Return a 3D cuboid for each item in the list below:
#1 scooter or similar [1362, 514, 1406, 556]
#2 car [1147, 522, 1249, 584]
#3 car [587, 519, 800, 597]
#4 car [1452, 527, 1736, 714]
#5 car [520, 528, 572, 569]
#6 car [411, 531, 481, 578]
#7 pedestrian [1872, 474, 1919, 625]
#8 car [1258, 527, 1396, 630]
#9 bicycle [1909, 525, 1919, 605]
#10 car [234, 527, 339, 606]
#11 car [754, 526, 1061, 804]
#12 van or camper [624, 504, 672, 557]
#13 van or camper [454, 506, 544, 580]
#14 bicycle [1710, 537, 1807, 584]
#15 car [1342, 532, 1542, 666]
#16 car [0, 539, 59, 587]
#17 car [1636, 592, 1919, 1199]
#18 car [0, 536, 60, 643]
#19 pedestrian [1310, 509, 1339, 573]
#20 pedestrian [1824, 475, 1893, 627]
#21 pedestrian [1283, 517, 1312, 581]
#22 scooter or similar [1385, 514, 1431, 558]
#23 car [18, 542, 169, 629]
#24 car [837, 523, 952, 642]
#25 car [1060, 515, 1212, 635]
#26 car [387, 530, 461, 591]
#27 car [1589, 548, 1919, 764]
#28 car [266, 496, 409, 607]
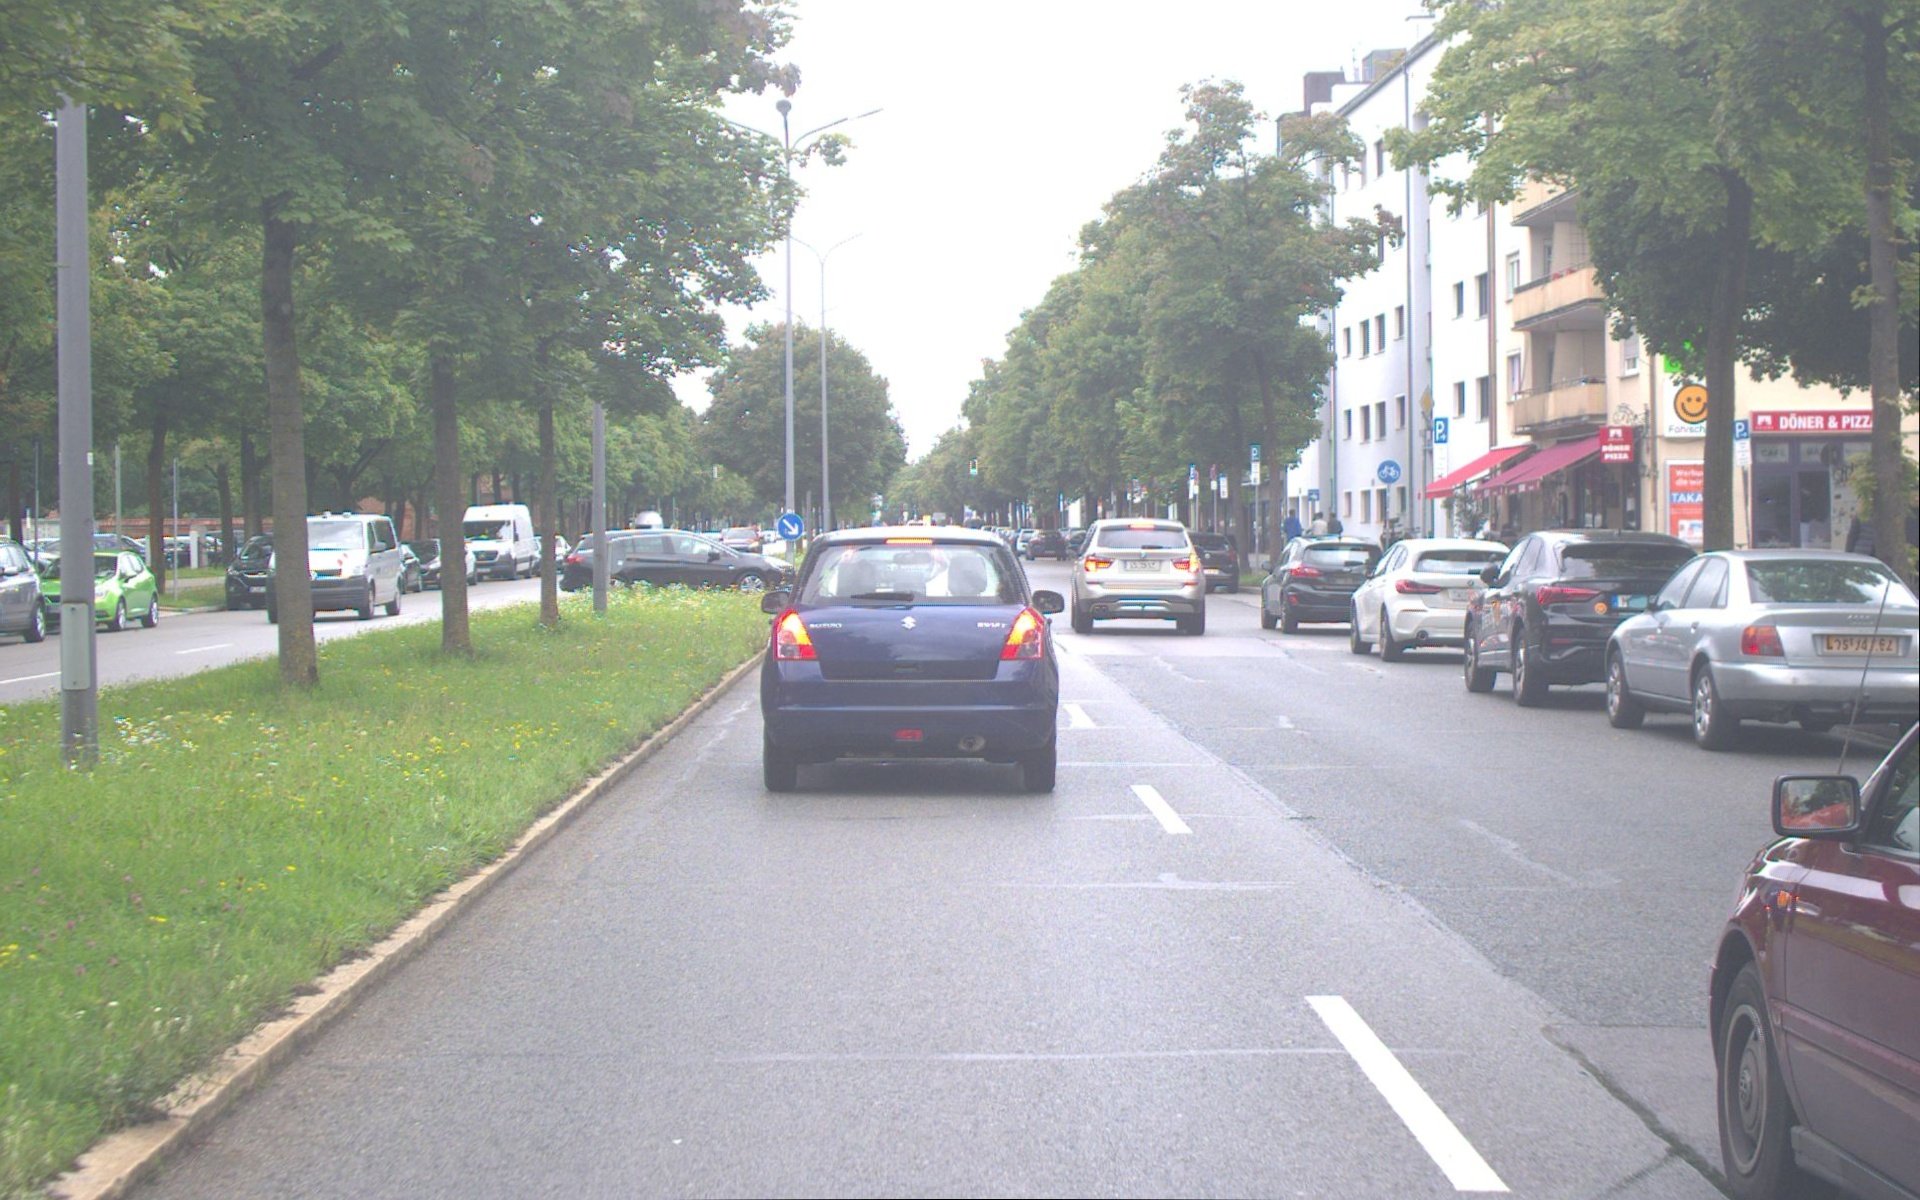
[{"bbox_3d":[13.422,-2.074,108.918,1.033,1.303,2.755,-1,1,0],"label":"scooter or similar"},{"bbox_3d":[5.677,-1.145,82.288,1.865,1.412,4.225,-1,2,-4],"label":"car"},{"bbox_3d":[-5.276,-0.845,67.743,4.121,1.463,1.840,-1,1,-6],"label":"car"},{"bbox_3d":[5.642,0.130,31.074,1.716,1.528,4.276,1,1,0],"label":"car"},{"bbox_3d":[-16.074,-2.016,133.639,1.632,1.577,3.879,0,1,-1],"label":"car"},{"bbox_3d":[-15.820,-1.414,105.958,1.632,1.426,3.879,0,1,-1],"label":"car"},{"bbox_3d":[12.039,-0.642,43.426,0.729,1.883,0.919,-1,1,-2],"label":"pedestrian"},{"bbox_3d":[5.490,-0.347,51.773,1.617,1.460,3.674,1,1,-1],"label":"car"},{"bbox_3d":[13.357,-0.467,46.730,0.381,1.099,1.884,0,1,0],"label":"bicycle"},{"bbox_3d":[-15.377,-0.785,78.642,1.716,1.735,3.879,0,1,-1],"label":"car"},{"bbox_3d":[-0.343,0.315,20.816,1.682,1.496,3.919,0,1,-2],"label":"car"},{"bbox_3d":[-19.656,-4.365,216.853,2.561,3.284,6.938,0,1,-1],"label":"van or camper"},{"bbox_3d":[-16.059,-1.991,120.132,2.117,2.473,7.449,0,1,0],"label":"van or camper"},{"bbox_3d":[16.429,-0.821,70.741,1.847,0.954,0.557,0,1,-1],"label":"bicycle"},{"bbox_3d":[5.716,-0.053,41.196,1.682,1.460,4.138,2,1,-1],"label":"car"},{"bbox_3d":[-29.192,-1.125,103.383,3.865,1.440,1.673,0,1,-6],"label":"car"},{"bbox_3d":[2.504,0.727,6.175,1.682,1.379,3.919,1,1,-2],"label":"car"},{"bbox_3d":[-15.284,-0.152,53.018,1.690,1.581,4.371,-2,2,-1],"label":"car"},{"bbox_3d":[11.464,-1.854,108.056,0.794,2.007,1.006,-1,1,0],"label":"pedestrian"},{"bbox_3d":[11.350,-0.621,43.455,0.588,1.883,0.902,-1,1,-2],"label":"pedestrian"},{"bbox_3d":[10.620,-1.607,108.091,0.794,2.007,1.006,-1,1,0],"label":"pedestrian"},{"bbox_3d":[13.559,-1.943,104.107,1.033,1.303,2.755,-1,1,0],"label":"scooter or similar"},{"bbox_3d":[-15.387,-0.276,61.228,1.547,1.404,3.879,-2,2,2],"label":"car"},{"bbox_3d":[-0.866,-0.253,44.742,1.444,1.478,3.107,0,1,-2],"label":"car"},{"bbox_3d":[2.545,-0.408,50.561,1.865,1.655,4.408,1,1,-2],"label":"car"},{"bbox_3d":[-15.665,-1.173,100.626,1.632,1.735,3.879,0,1,-1],"label":"car"},{"bbox_3d":[5.929,0.346,25.114,1.635,1.381,4.245,1,1,-3],"label":"car"},{"bbox_3d":[-11.569,-0.908,64.142,1.799,1.927,4.994,-2,1,-1],"label":"car"}]
